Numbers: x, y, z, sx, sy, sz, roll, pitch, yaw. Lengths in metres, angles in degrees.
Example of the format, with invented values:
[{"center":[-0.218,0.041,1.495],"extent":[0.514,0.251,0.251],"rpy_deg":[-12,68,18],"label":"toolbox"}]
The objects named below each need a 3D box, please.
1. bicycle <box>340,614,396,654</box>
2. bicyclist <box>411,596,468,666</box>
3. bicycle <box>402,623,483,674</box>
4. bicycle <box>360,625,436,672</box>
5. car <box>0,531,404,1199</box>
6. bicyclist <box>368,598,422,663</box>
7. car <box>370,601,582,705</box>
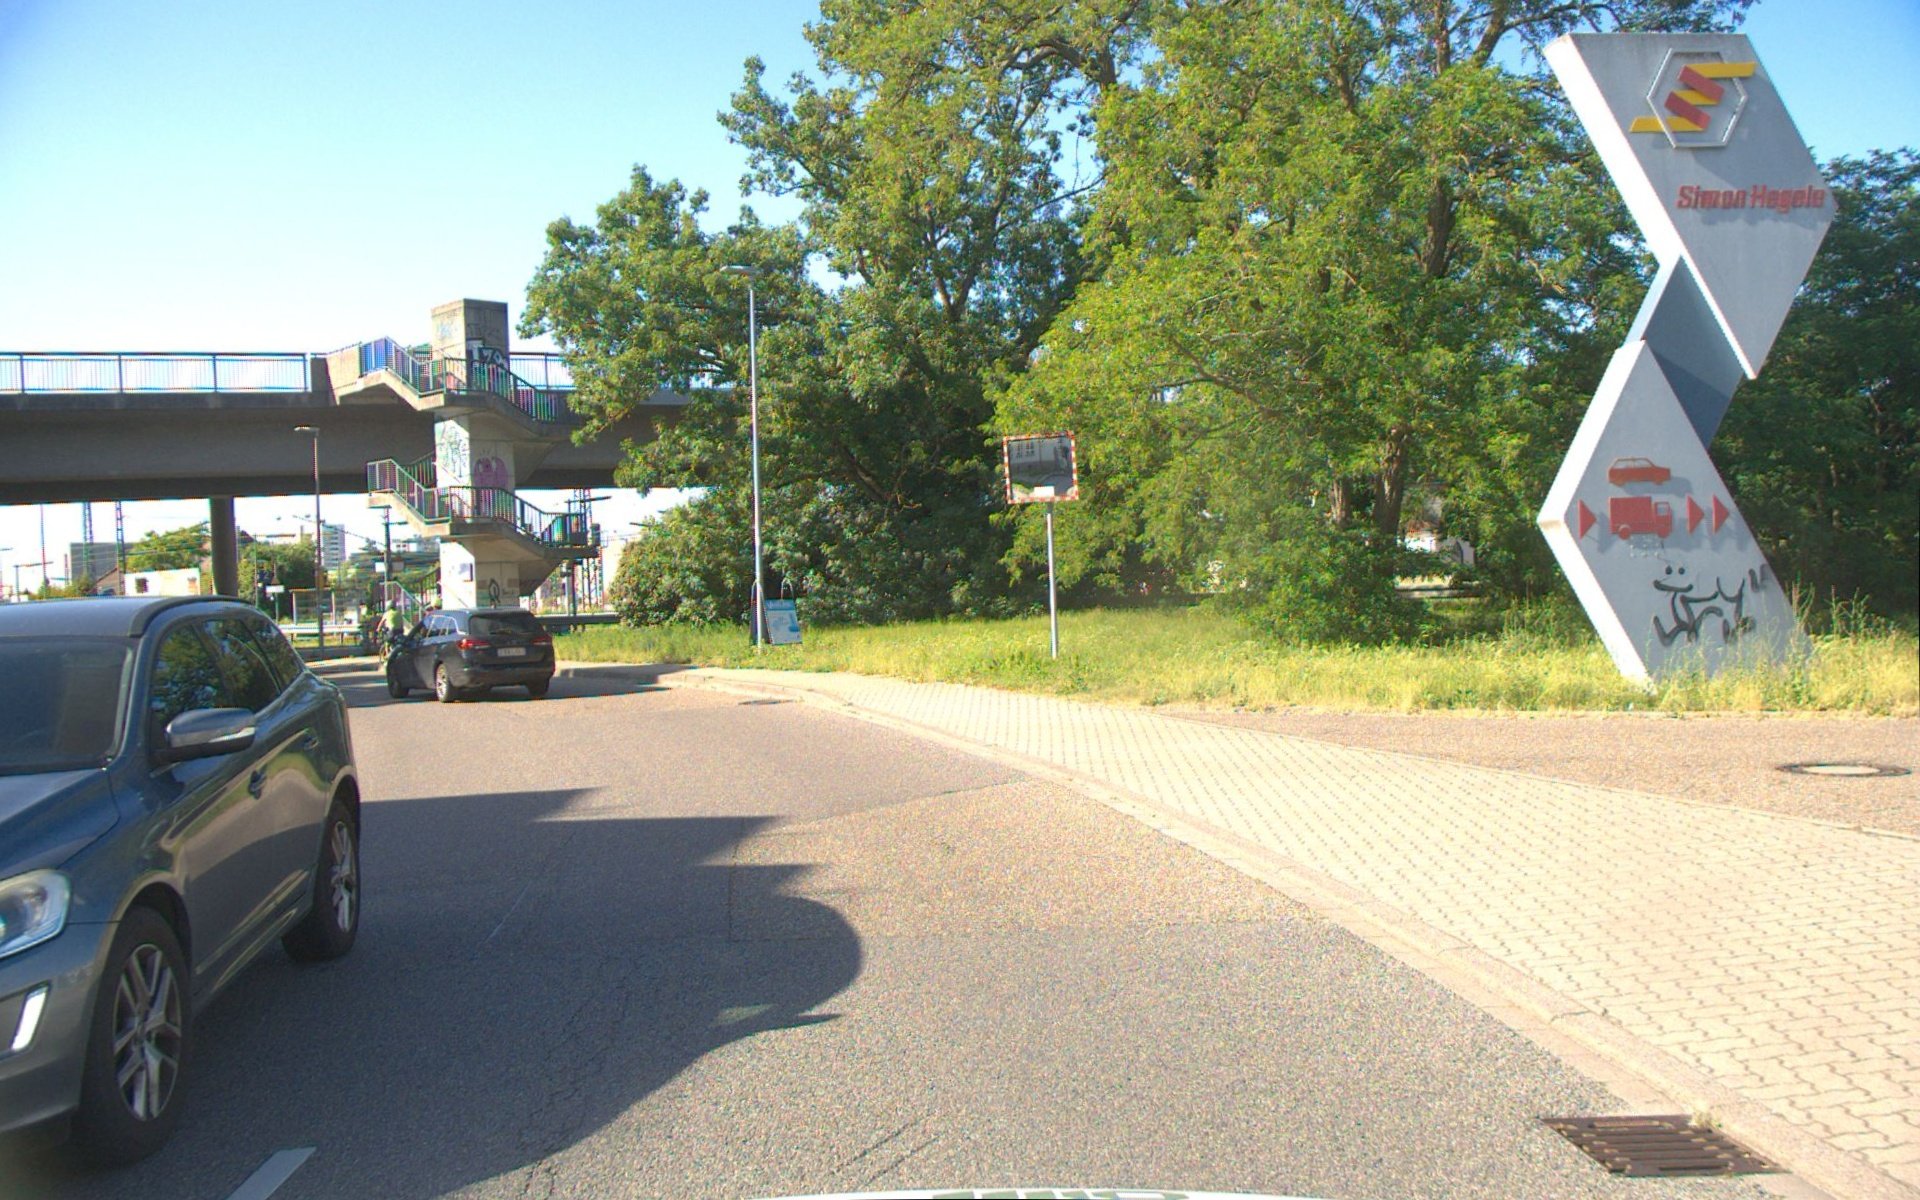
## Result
[{"center":[-18.778,1.091,52.452],"extent":[2.140,1.203,0.596],"rpy_deg":[-3,1,40],"label":"bicycle"},{"center":[-11.738,0.704,37.301],"extent":[0.837,1.514,0.908],"rpy_deg":[-3,1,-45],"label":"bicyclist"},{"center":[-11.671,1.098,37.256],"extent":[0.837,1.070,2.154],"rpy_deg":[-4,1,-44],"label":"bicycle"},{"center":[-13.612,1.172,40.029],"extent":[2.152,1.070,0.838],"rpy_deg":[-2,1,44],"label":"bicycle"},{"center":[-3.439,0.795,5.907],"extent":[1.958,1.724,4.554],"rpy_deg":[-6,1,-10],"label":"car"},{"center":[-13.688,0.735,40.072],"extent":[0.908,1.514,0.838],"rpy_deg":[-2,1,44],"label":"bicyclist"},{"center":[-8.271,0.875,28.009],"extent":[1.929,1.514,4.504],"rpy_deg":[-3,1,-37],"label":"car"}]
